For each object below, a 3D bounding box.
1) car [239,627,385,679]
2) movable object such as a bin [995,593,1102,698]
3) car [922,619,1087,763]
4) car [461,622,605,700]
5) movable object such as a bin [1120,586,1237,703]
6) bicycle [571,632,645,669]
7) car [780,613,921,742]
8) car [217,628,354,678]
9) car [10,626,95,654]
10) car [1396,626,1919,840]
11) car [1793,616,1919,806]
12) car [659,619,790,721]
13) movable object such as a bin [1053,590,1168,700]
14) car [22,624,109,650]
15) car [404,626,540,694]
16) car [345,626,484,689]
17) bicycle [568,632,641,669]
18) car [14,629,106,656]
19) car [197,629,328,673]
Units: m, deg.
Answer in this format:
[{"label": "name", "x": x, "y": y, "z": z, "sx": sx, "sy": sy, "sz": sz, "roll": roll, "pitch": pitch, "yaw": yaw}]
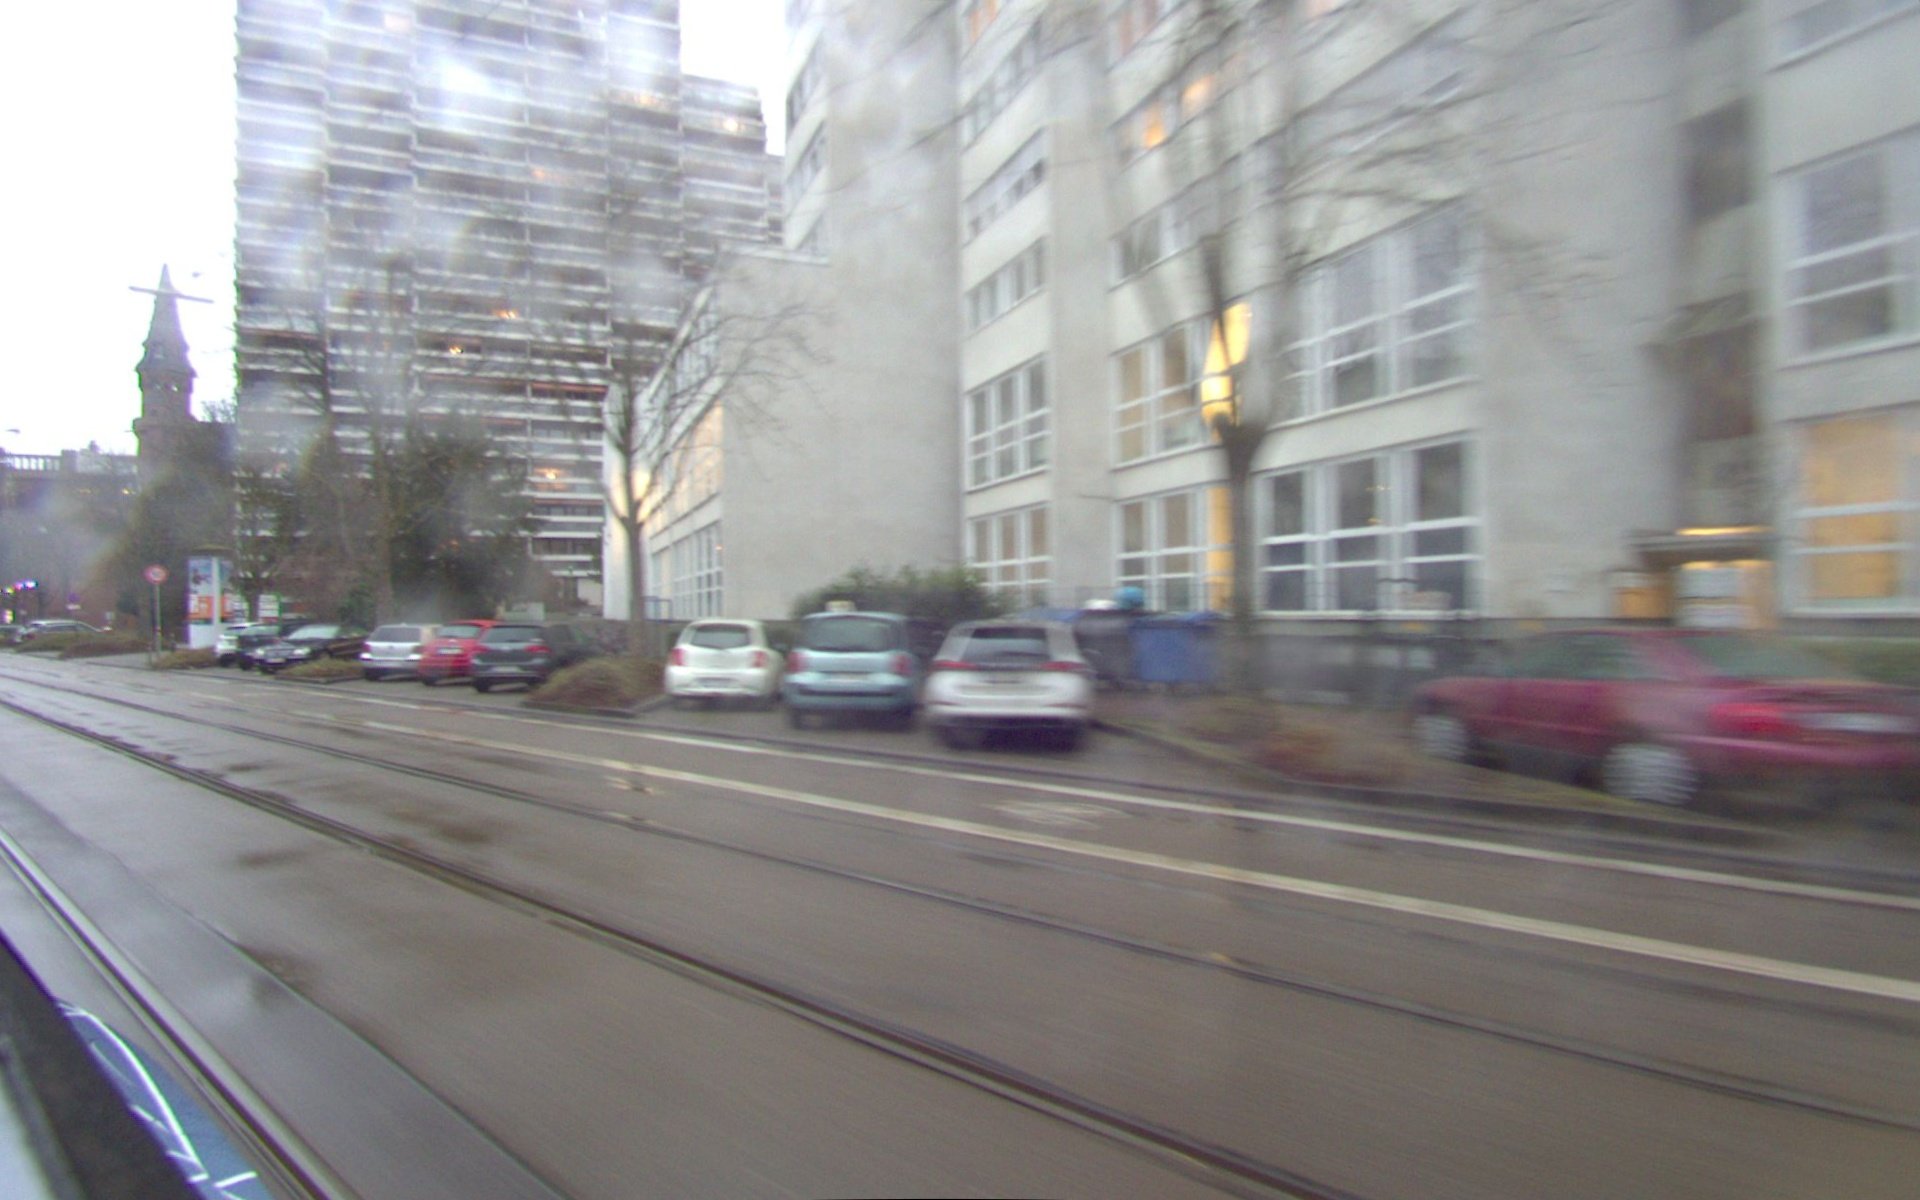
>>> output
[{"label": "car", "x": -18.933, "y": 1.532, "z": 29.802, "sx": 1.829, "sy": 1.389, "sz": 4.001, "roll": -1, "pitch": -2, "yaw": -2}, {"label": "movable object such as a bin", "x": 1.676, "y": 0.862, "z": 19.193, "sx": 1.317, "sy": 1.874, "sz": 1.553, "roll": -4, "pitch": -4, "yaw": 42}, {"label": "car", "x": 0.702, "y": 1.000, "z": 12.474, "sx": 1.716, "sy": 1.455, "sz": 3.991, "roll": 0, "pitch": -2, "yaw": 7}, {"label": "car", "x": -9.090, "y": 1.276, "z": 21.878, "sx": 1.671, "sy": 1.504, "sz": 3.856, "roll": -1, "pitch": -2, "yaw": -3}, {"label": "movable object such as a bin", "x": 3.747, "y": 0.760, "z": 17.350, "sx": 1.317, "sy": 1.874, "sz": 1.553, "roll": -4, "pitch": -4, "yaw": 42}, {"label": "bicycle", "x": -11.182, "y": 1.592, "z": 32.150, "sx": 2.167, "sy": 1.129, "sz": 0.644, "roll": 0, "pitch": -2, "yaw": -27}, {"label": "car", "x": -1.451, "y": 1.040, "z": 14.667, "sx": 1.712, "sy": 1.575, "sz": 4.001, "roll": -1, "pitch": -2, "yaw": -2}, {"label": "car", "x": -21.617, "y": 1.672, "z": 32.650, "sx": 1.829, "sy": 1.474, "sz": 4.001, "roll": -1, "pitch": -2, "yaw": -2}, {"label": "car", "x": -57.183, "y": 2.506, "z": 63.806, "sx": 3.940, "sy": 1.652, "sz": 2.002, "roll": 1, "pitch": -3, "yaw": -44}, {"label": "car", "x": 5.807, "y": 0.936, "z": 8.741, "sx": 1.722, "sy": 1.362, "sz": 4.354, "roll": 1, "pitch": -2, "yaw": -8}, {"label": "car", "x": 8.257, "y": 0.845, "z": 7.124, "sx": 1.715, "sy": 1.474, "sz": 3.993, "roll": 0, "pitch": -2, "yaw": 6}, {"label": "car", "x": -4.026, "y": 1.169, "z": 17.838, "sx": 1.667, "sy": 1.563, "sz": 3.880, "roll": -1, "pitch": -2, "yaw": -4}, {"label": "movable object such as a bin", "x": 2.724, "y": 0.814, "z": 18.270, "sx": 1.393, "sy": 1.874, "sz": 1.553, "roll": -4, "pitch": -4, "yaw": 42}, {"label": "car", "x": -54.853, "y": 2.250, "z": 62.076, "sx": 3.940, "sy": 1.497, "sz": 1.673, "roll": 1, "pitch": -3, "yaw": -44}, {"label": "car", "x": -11.666, "y": 1.399, "z": 24.433, "sx": 1.704, "sy": 1.504, "sz": 3.452, "roll": -1, "pitch": -2, "yaw": -2}, {"label": "car", "x": -13.953, "y": 1.447, "z": 26.166, "sx": 1.765, "sy": 1.457, "sz": 4.005, "roll": -1, "pitch": -2, "yaw": -6}, {"label": "bicycle", "x": -11.590, "y": 1.634, "z": 32.989, "sx": 2.167, "sy": 1.129, "sz": 0.644, "roll": 0, "pitch": -2, "yaw": -27}, {"label": "car", "x": -52.429, "y": 2.485, "z": 58.985, "sx": 3.940, "sy": 1.497, "sz": 1.673, "roll": 1, "pitch": -3, "yaw": -44}, {"label": "car", "x": -23.897, "y": 1.730, "z": 34.876, "sx": 1.829, "sy": 1.410, "sz": 4.001, "roll": -1, "pitch": -2, "yaw": -2}]
